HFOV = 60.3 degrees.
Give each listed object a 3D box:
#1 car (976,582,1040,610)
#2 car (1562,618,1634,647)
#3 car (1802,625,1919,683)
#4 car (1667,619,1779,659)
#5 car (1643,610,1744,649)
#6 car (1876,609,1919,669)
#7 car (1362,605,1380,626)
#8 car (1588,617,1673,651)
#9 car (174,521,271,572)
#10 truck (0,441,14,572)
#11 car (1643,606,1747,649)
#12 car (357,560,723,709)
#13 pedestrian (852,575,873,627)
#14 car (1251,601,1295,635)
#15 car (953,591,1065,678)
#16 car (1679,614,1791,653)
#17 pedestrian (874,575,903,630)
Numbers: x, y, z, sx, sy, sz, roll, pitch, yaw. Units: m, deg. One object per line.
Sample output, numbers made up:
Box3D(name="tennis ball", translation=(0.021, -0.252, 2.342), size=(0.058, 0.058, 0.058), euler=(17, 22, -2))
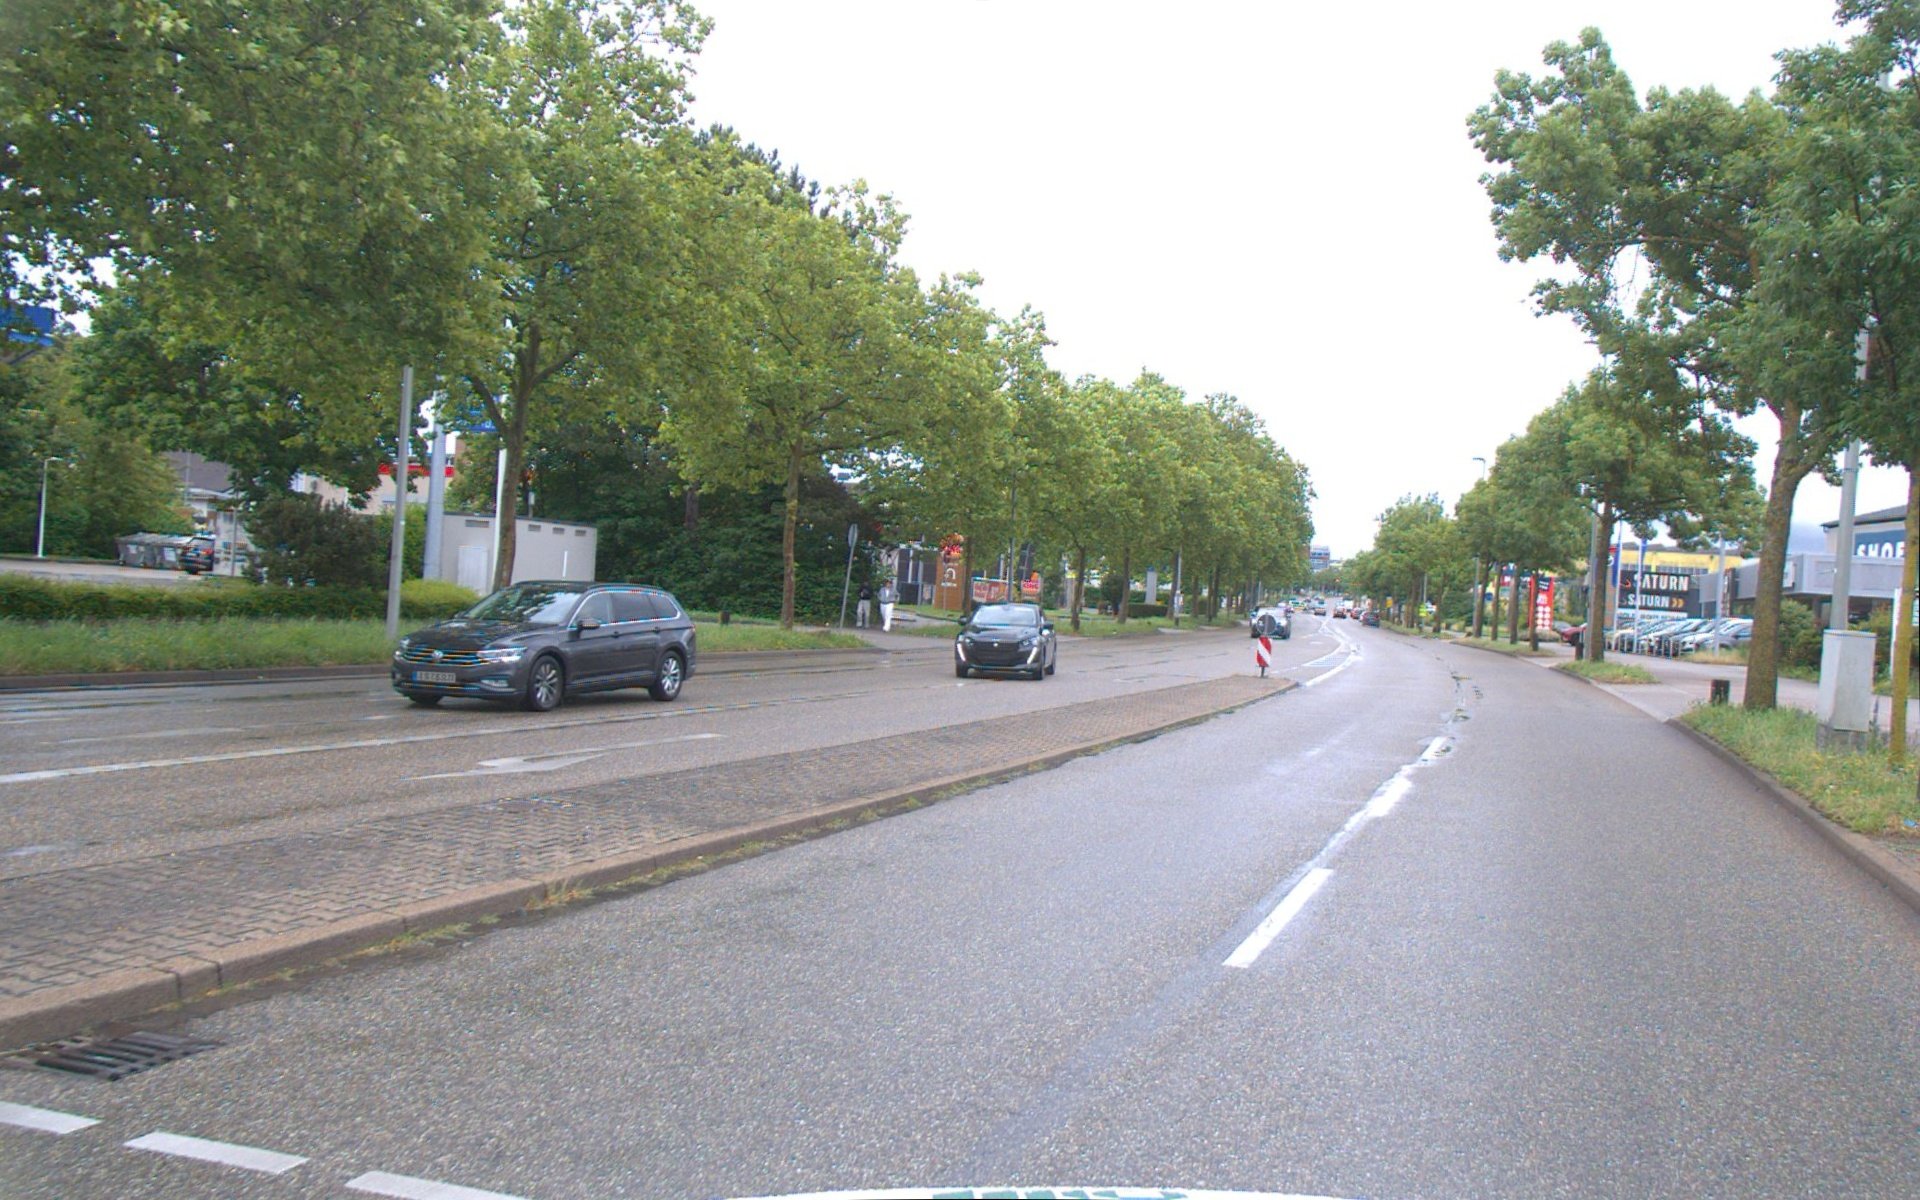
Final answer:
Box3D(name="car", translation=(2.592, -0.228, 88.815), size=(3.112, 1.174, 1.290), euler=(6, 1, 21))
Box3D(name="car", translation=(37.261, 1.875, 96.671), size=(3.759, 1.632, 1.797), euler=(0, -1, 13))
Box3D(name="car", translation=(28.527, 1.672, 51.392), size=(3.985, 1.625, 1.978), euler=(2, 0, 34))
Box3D(name="car", translation=(31.650, 1.605, 68.710), size=(3.902, 1.570, 1.813), euler=(-1, -1, 15))
Box3D(name="car", translation=(33.490, 1.323, 75.620), size=(3.902, 1.615, 1.814), euler=(-2, 0, 12))
Box3D(name="car", translation=(29.200, 1.190, 48.250), size=(4.075, 1.691, 1.813), euler=(3, 2, 38))
Box3D(name="car", translation=(43.789, 1.643, 176.340), size=(1.708, 2.048, 4.003), euler=(3, 0, 14))
Box3D(name="car", translation=(35.633, 1.781, 87.947), size=(3.902, 1.565, 1.801), euler=(3, 0, 13))
Box3D(name="car", translation=(-30.144, -2.161, 67.719), size=(1.952, 1.870, 4.001), euler=(2, 0, 2))
Box3D(name="truck", translation=(-23.506, -2.068, 32.964), size=(7.794, 2.722, 2.126), euler=(2, 0, -39))
Box3D(name="car", translation=(32.523, 1.227, 73.296), size=(3.902, 1.818, 1.813), euler=(-2, -1, 15))
Box3D(name="car", translation=(-4.935, 0.389, 20.249), size=(1.953, 1.534, 4.730), euler=(2, 0, 21))
Box3D(name="pedestrian", translation=(-3.304, 0.040, 55.989), size=(0.501, 1.712, 0.541), euler=(2, 0, 15))
Box3D(name="car", translation=(16.276, 0.954, 85.908), size=(1.773, 1.589, 4.601), euler=(3, 0, 16))
Box3D(name="car", translation=(1.027, 0.634, 32.552), size=(1.608, 1.534, 3.897), euler=(2, 0, 10))
Box3D(name="car", translation=(30.960, 1.339, 66.161), size=(3.751, 1.487, 1.829), euler=(-1, -1, 13))
Box3D(name="pedestrian", translation=(-2.439, 0.079, 56.051), size=(0.654, 1.797, 0.581), euler=(4, 0, 36))
